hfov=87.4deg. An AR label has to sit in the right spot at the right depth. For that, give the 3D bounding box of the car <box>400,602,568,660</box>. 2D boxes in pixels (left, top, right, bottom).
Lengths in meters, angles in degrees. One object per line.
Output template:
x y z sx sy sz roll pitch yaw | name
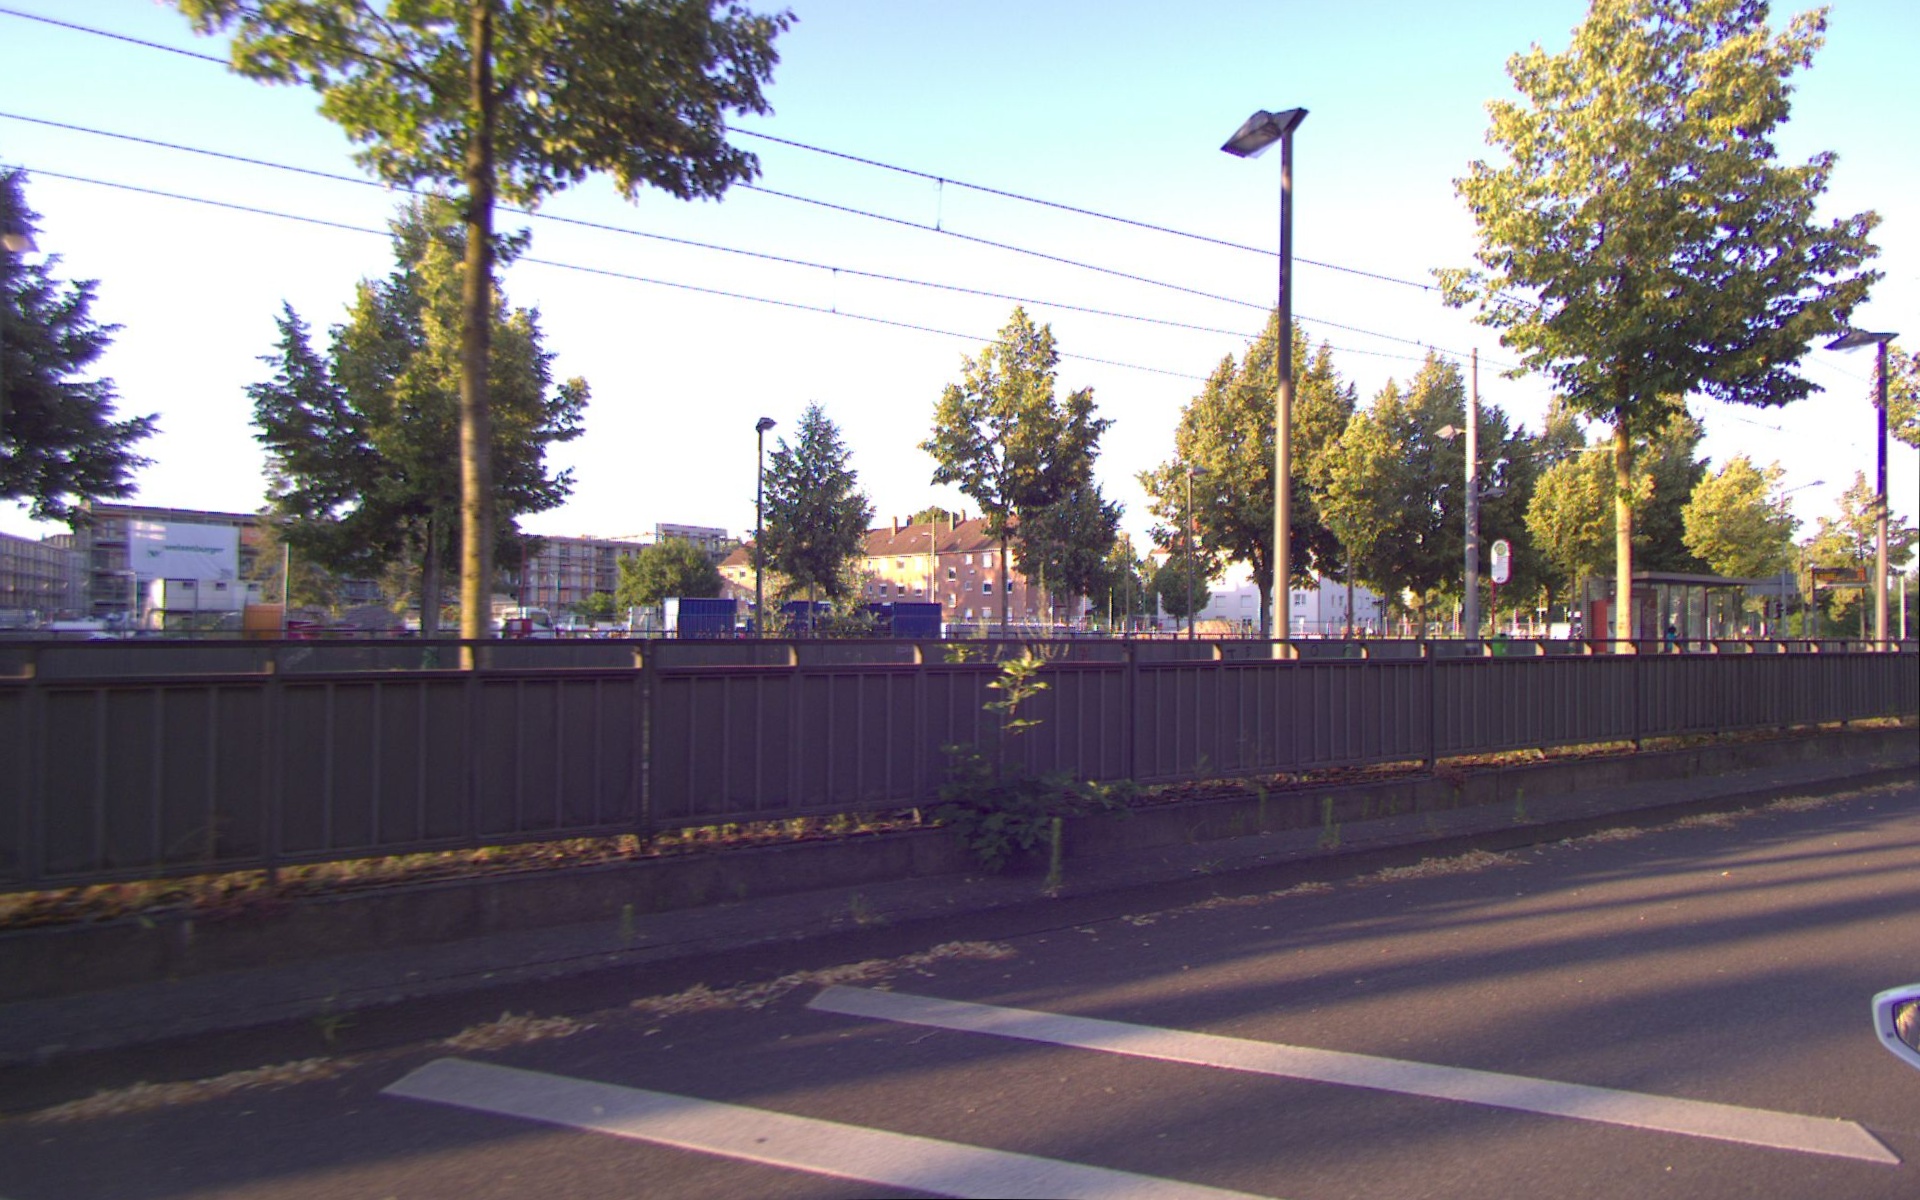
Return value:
-19.660 1.282 41.779 2.384 2.254 5.897 0 -2 36 | car

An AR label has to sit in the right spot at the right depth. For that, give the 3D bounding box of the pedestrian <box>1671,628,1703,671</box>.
23.238 1.580 32.119 0.737 1.337 0.611 1 -1 -33 | pedestrian
